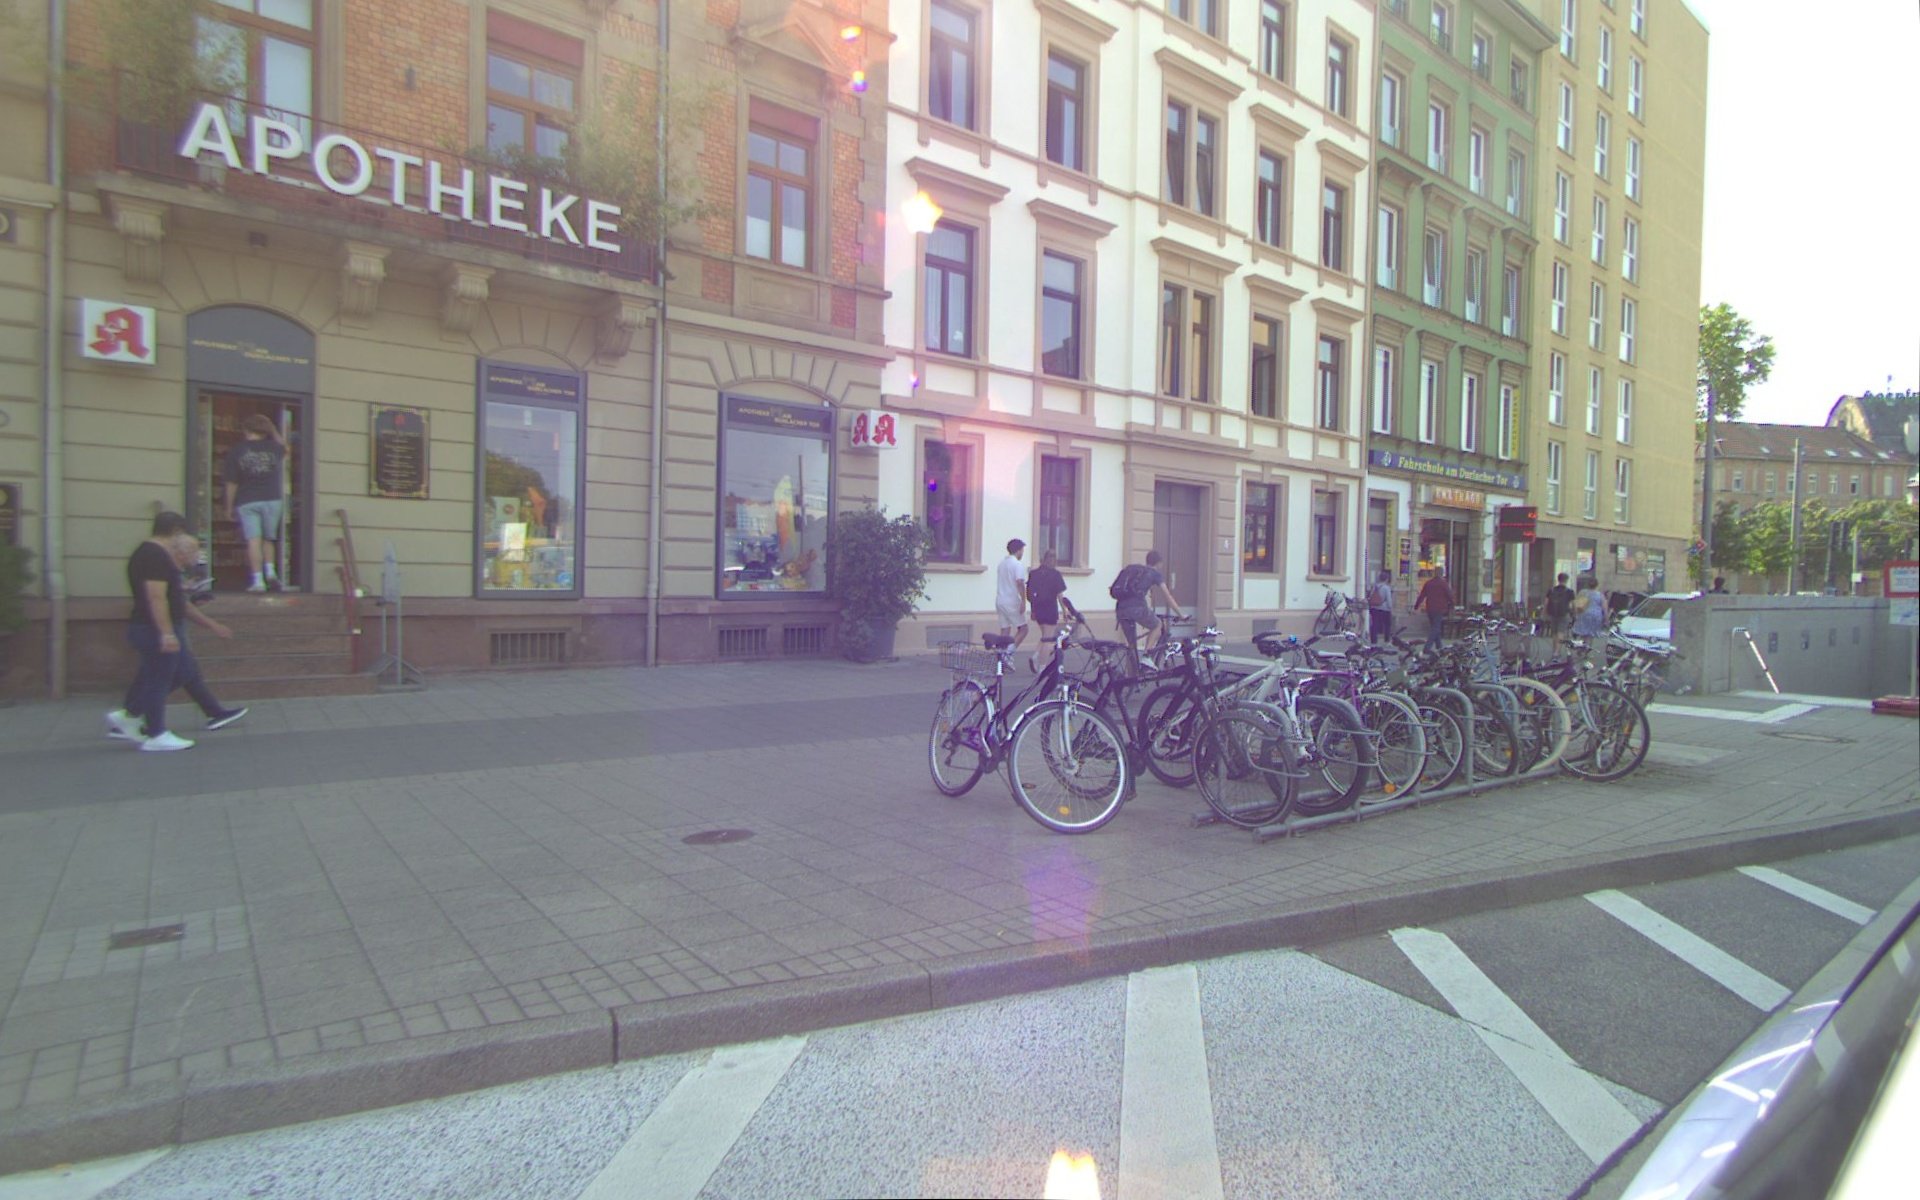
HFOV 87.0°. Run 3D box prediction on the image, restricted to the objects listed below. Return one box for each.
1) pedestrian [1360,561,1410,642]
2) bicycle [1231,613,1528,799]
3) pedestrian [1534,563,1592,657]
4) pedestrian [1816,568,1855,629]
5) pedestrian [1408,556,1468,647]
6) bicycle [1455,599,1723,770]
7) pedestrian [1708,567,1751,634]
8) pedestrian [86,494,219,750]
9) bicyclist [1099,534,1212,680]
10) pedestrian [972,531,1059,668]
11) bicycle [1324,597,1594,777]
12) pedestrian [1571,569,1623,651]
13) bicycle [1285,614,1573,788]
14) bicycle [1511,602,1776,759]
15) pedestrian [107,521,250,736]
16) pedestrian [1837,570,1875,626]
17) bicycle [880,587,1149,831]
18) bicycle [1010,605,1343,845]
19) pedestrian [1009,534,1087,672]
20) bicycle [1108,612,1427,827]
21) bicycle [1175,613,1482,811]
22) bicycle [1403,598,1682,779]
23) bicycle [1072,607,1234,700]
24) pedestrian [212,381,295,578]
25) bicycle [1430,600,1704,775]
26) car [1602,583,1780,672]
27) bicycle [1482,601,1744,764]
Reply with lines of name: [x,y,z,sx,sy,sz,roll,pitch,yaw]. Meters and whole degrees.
pedestrian: [8.938,0.020,21.269,0.783,1.648,0.645,0,3,-43]
bicycle: [2.844,0.654,7.049,0.645,1.074,1.842,0,1,-38]
pedestrian: [11.869,0.182,19.923,0.782,1.780,0.688,0,3,-40]
pedestrian: [24.597,-0.047,28.426,0.782,1.648,0.645,0,3,-39]
pedestrian: [9.563,0.019,20.251,0.867,1.755,0.771,0,3,-43]
bicycle: [5.100,0.621,8.327,0.427,1.235,1.842,0,1,-38]
pedestrian: [19.451,-0.002,25.573,0.783,1.648,0.645,0,3,-41]
pedestrian: [-5.614,0.126,7.067,0.695,1.671,0.646,0,2,-37]
bicyclist: [2.266,0.065,11.724,1.082,1.606,0.721,0,1,-38]
pedestrian: [0.776,-0.029,14.089,0.913,1.826,0.726,0,3,-42]
bicycle: [3.817,0.597,7.892,0.539,1.218,1.842,0,1,-38]
pedestrian: [13.130,0.194,20.865,0.783,1.648,0.645,0,3,-41]
bicycle: [3.382,0.662,7.461,0.645,1.069,1.842,0,1,-38]
bicycle: [5.967,0.639,8.938,0.626,1.218,1.842,0,1,-37]
pedestrian: [-5.891,0.188,7.658,0.827,1.528,0.558,0,3,-37]
pedestrian: [27.329,-0.076,30.874,0.782,1.648,0.646,0,2,-36]
bicycle: [0.257,0.525,5.840,0.677,1.199,1.608,0,1,-37]
bicycle: [1.133,0.592,5.669,0.686,1.089,1.807,0,1,-38]
pedestrian: [1.188,0.022,13.614,0.783,1.793,0.645,0,3,-43]
bicycle: [1.801,0.633,6.207,0.645,1.074,1.842,0,1,-38]
bicycle: [2.336,0.642,6.636,0.645,1.066,1.842,0,1,-38]
bicycle: [4.401,0.602,7.791,0.427,1.218,1.842,0,1,-38]
bicycle: [2.266,0.576,11.733,1.964,0.965,0.721,0,1,-38]
pedestrian: [-7.175,-1.179,10.266,0.650,1.886,0.738,0,2,-39]
bicycle: [4.745,0.623,8.046,0.427,1.218,1.842,0,1,-38]
car: [14.062,0.456,19.402,3.861,1.444,1.668,0,4,-38]
bicycle: [5.478,0.632,8.607,0.427,1.218,1.842,0,1,-38]
